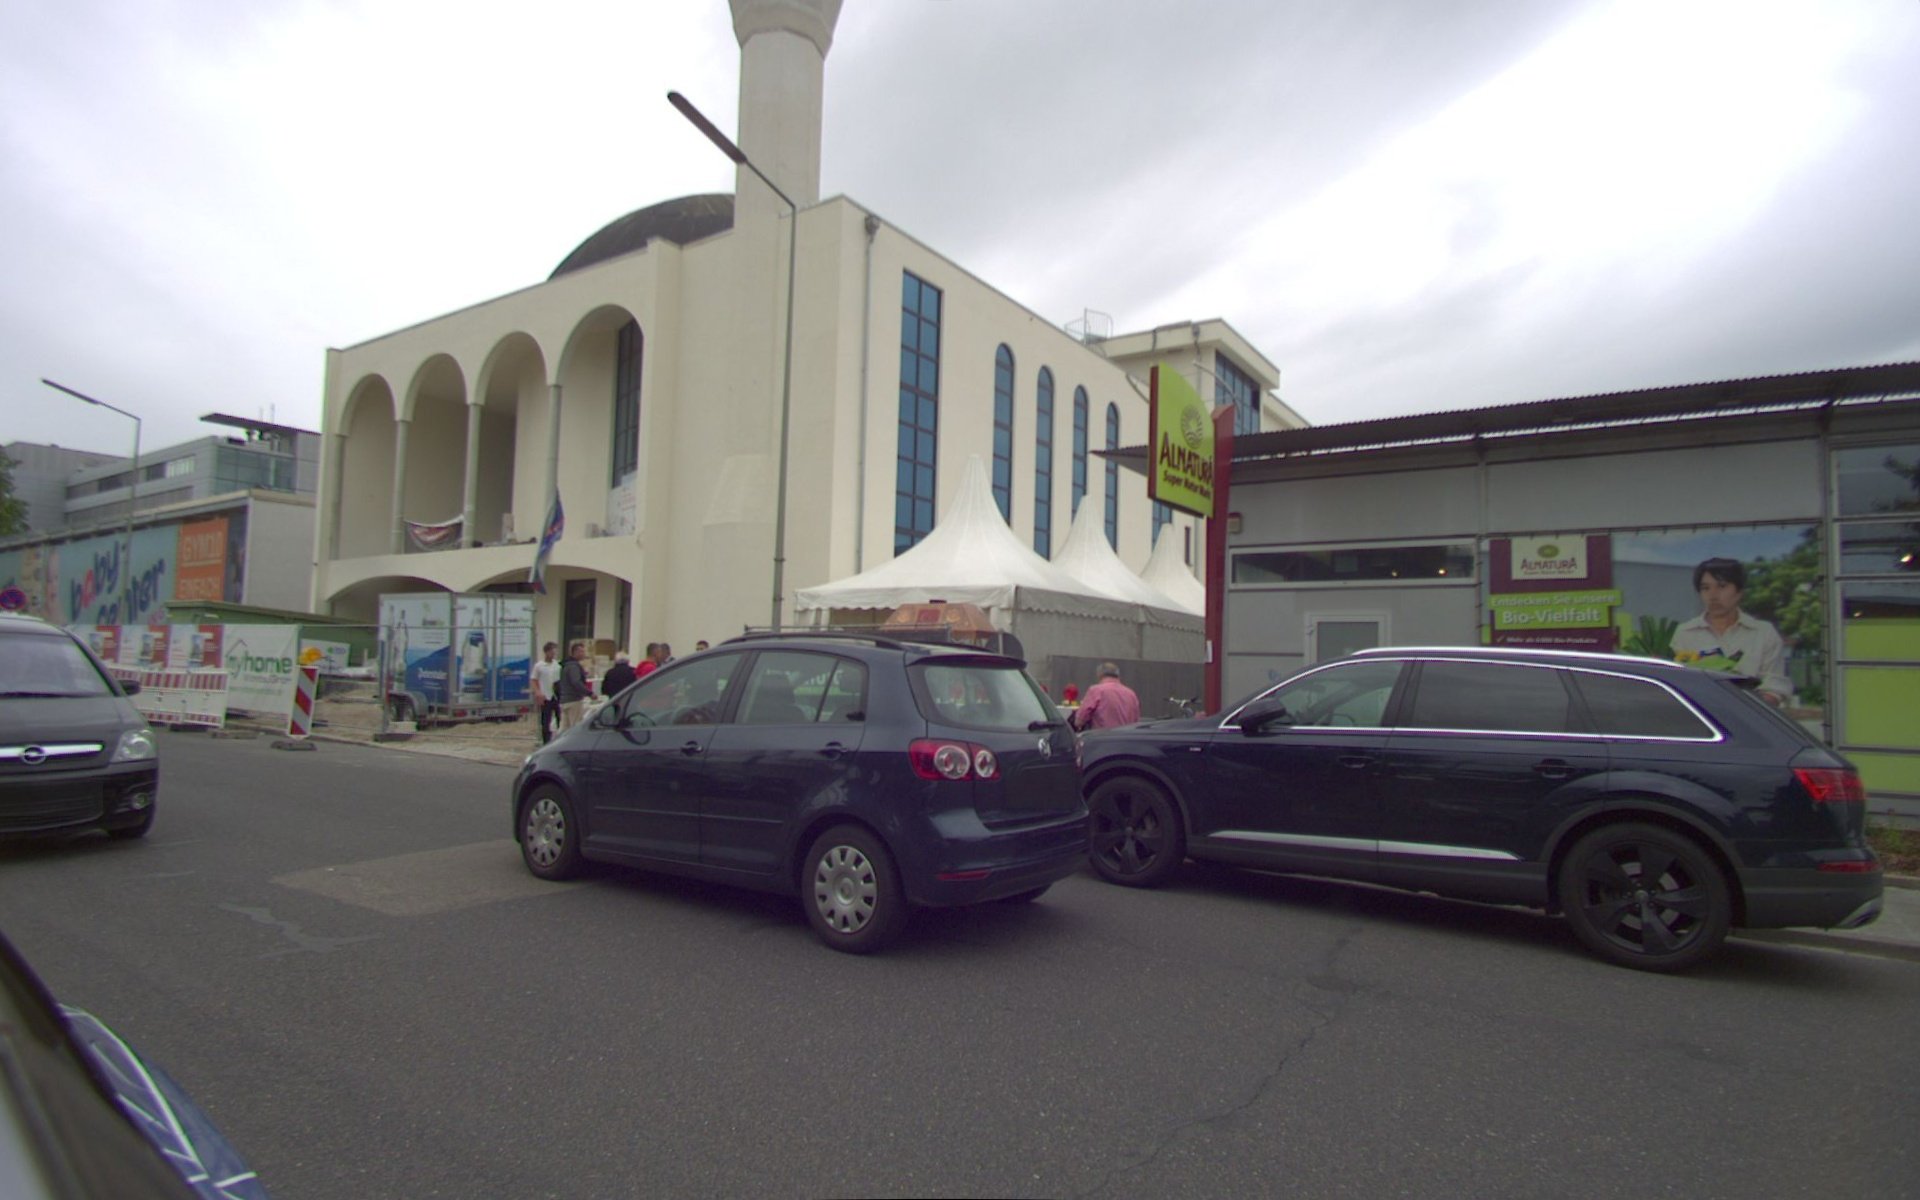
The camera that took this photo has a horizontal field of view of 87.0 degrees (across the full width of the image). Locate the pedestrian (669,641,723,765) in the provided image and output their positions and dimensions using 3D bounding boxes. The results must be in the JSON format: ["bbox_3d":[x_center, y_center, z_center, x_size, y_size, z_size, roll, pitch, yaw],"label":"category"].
[{"bbox_3d":[-3.841,1.484,14.764,0.685,1.731,0.689,-1,-3,-11],"label":"pedestrian"}]

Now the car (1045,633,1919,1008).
[{"bbox_3d":[3.095,1.164,6.748,4.718,1.704,1.849,-1,-8,36],"label":"car"}]

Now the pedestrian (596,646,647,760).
[{"bbox_3d":[-4.934,1.495,14.784,0.562,1.624,0.492,2,-4,-10],"label":"pedestrian"}]

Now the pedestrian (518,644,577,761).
[{"bbox_3d":[-6.383,1.574,15.682,0.680,1.763,0.492,2,-4,-10],"label":"pedestrian"}]

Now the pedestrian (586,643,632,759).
[{"bbox_3d":[-5.451,1.561,15.747,0.520,1.763,0.492,2,-4,-10],"label":"pedestrian"}]

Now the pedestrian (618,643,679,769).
[{"bbox_3d":[-4.153,1.407,13.531,0.534,1.624,0.490,2,-5,6],"label":"pedestrian"}]

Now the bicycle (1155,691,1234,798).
[{"bbox_3d":[2.845,1.696,12.184,0.391,1.054,1.647,-1,0,32],"label":"bicycle"}]

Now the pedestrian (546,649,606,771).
[{"bbox_3d":[-5.696,1.619,15.044,0.680,1.763,0.492,2,-4,-10],"label":"pedestrian"}]

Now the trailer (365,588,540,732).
[{"bbox_3d":[-10.097,1.190,20.108,3.186,2.627,1.781,-2,-5,38],"label":"trailer"}]

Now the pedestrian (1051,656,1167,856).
[{"bbox_3d":[1.290,1.338,8.785,0.664,1.634,0.655,8,-8,-30],"label":"pedestrian"}]

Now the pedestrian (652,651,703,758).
[{"bbox_3d":[-4.418,1.616,15.835,0.489,1.624,0.535,0,-3,31],"label":"pedestrian"}]

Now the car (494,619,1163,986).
[{"bbox_3d":[-0.932,0.983,6.259,3.937,1.584,1.714,-1,-6,35],"label":"car"}]

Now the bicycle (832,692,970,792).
[{"bbox_3d":[-0.779,1.765,12.905,1.900,1.086,0.538,-1,-4,41],"label":"bicycle"}]

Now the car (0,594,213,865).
[{"bbox_3d":[-7.318,0.831,7.371,3.745,1.644,1.668,-1,-4,32],"label":"car"}]

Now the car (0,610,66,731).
[{"bbox_3d":[-18.270,1.193,18.338,4.944,2.029,1.910,0,-4,36],"label":"car"}]
